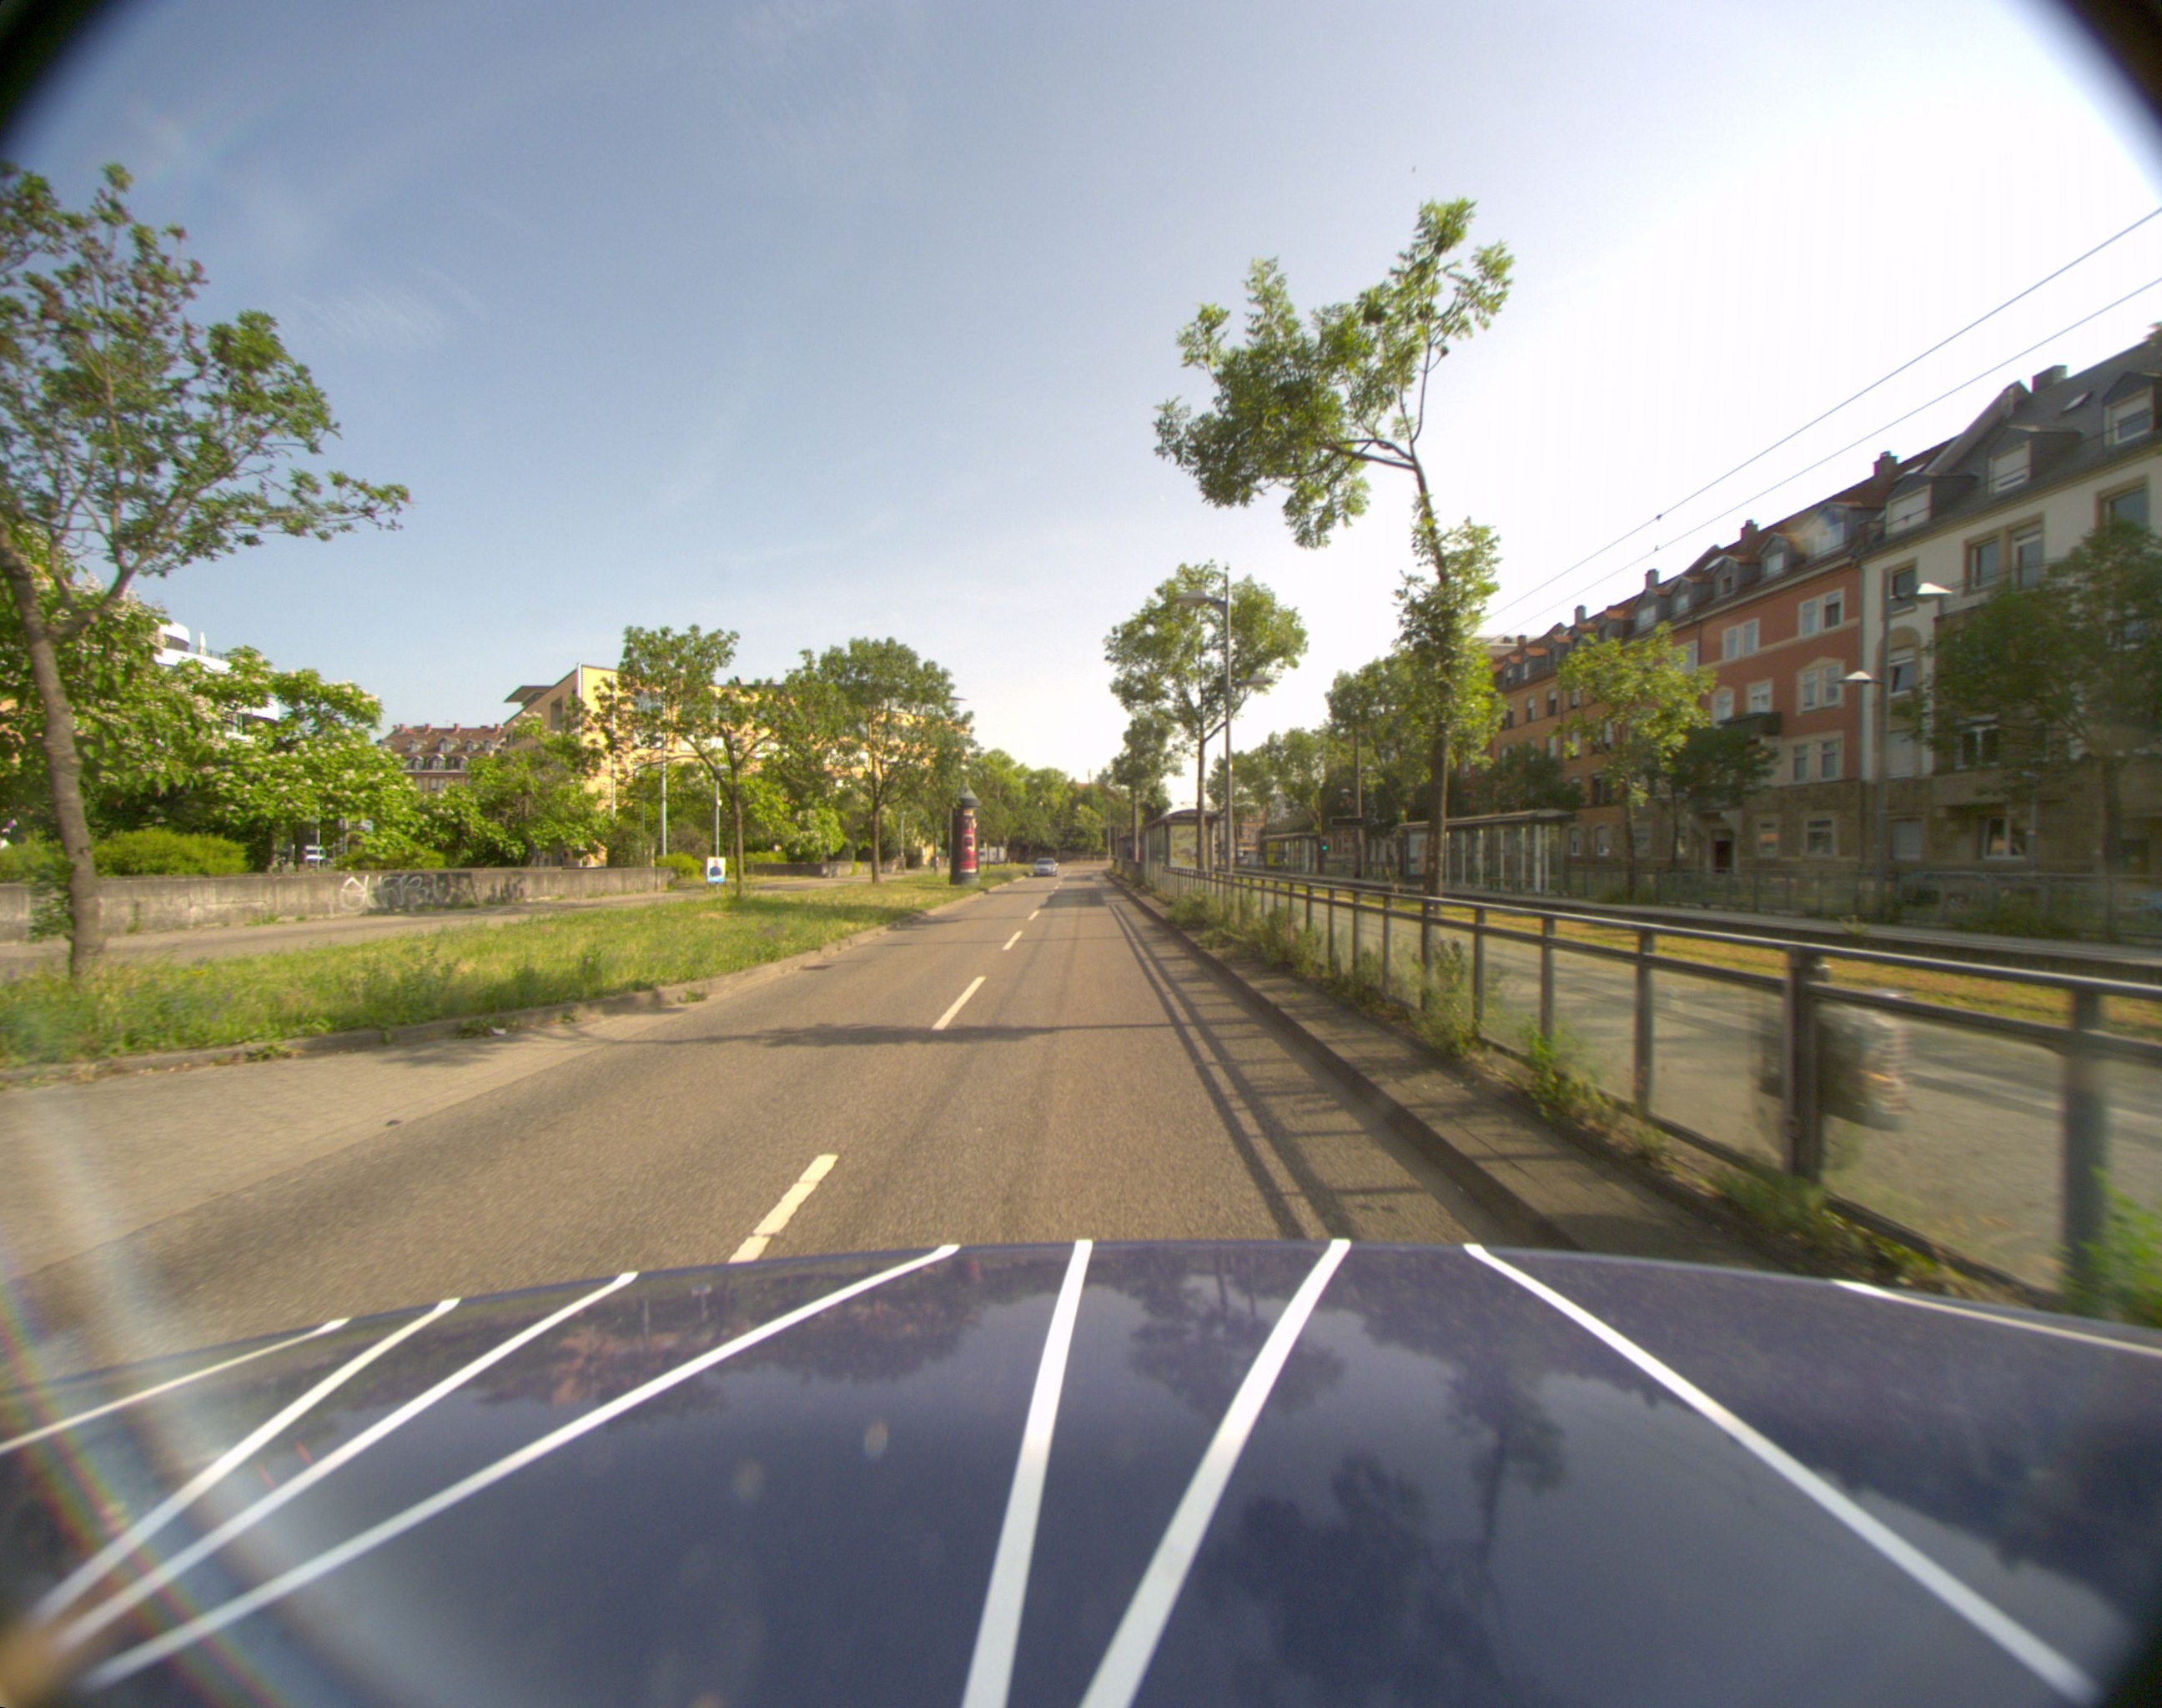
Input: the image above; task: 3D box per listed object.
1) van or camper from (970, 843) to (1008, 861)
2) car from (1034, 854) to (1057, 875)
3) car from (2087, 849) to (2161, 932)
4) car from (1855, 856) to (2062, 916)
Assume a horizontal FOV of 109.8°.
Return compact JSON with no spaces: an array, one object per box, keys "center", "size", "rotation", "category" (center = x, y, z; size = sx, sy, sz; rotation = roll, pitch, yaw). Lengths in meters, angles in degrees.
[{"center":[-14.406,-0.326,119.234],"size":[5.801,2.678,2.407],"rotation":[-2,1,-3],"category":"van or camper"},{"center":[-2.728,0.771,58.852],"size":[1.629,1.476,3.365],"rotation":[-3,1,-1],"category":"car"},{"center":[25.404,0.759,16.421],"size":[3.989,1.716,2.004],"rotation":[-2,1,35],"category":"car"},{"center":[27.337,0.926,23.914],"size":[1.907,1.610,3.999],"rotation":[-2,1,1],"category":"car"}]
